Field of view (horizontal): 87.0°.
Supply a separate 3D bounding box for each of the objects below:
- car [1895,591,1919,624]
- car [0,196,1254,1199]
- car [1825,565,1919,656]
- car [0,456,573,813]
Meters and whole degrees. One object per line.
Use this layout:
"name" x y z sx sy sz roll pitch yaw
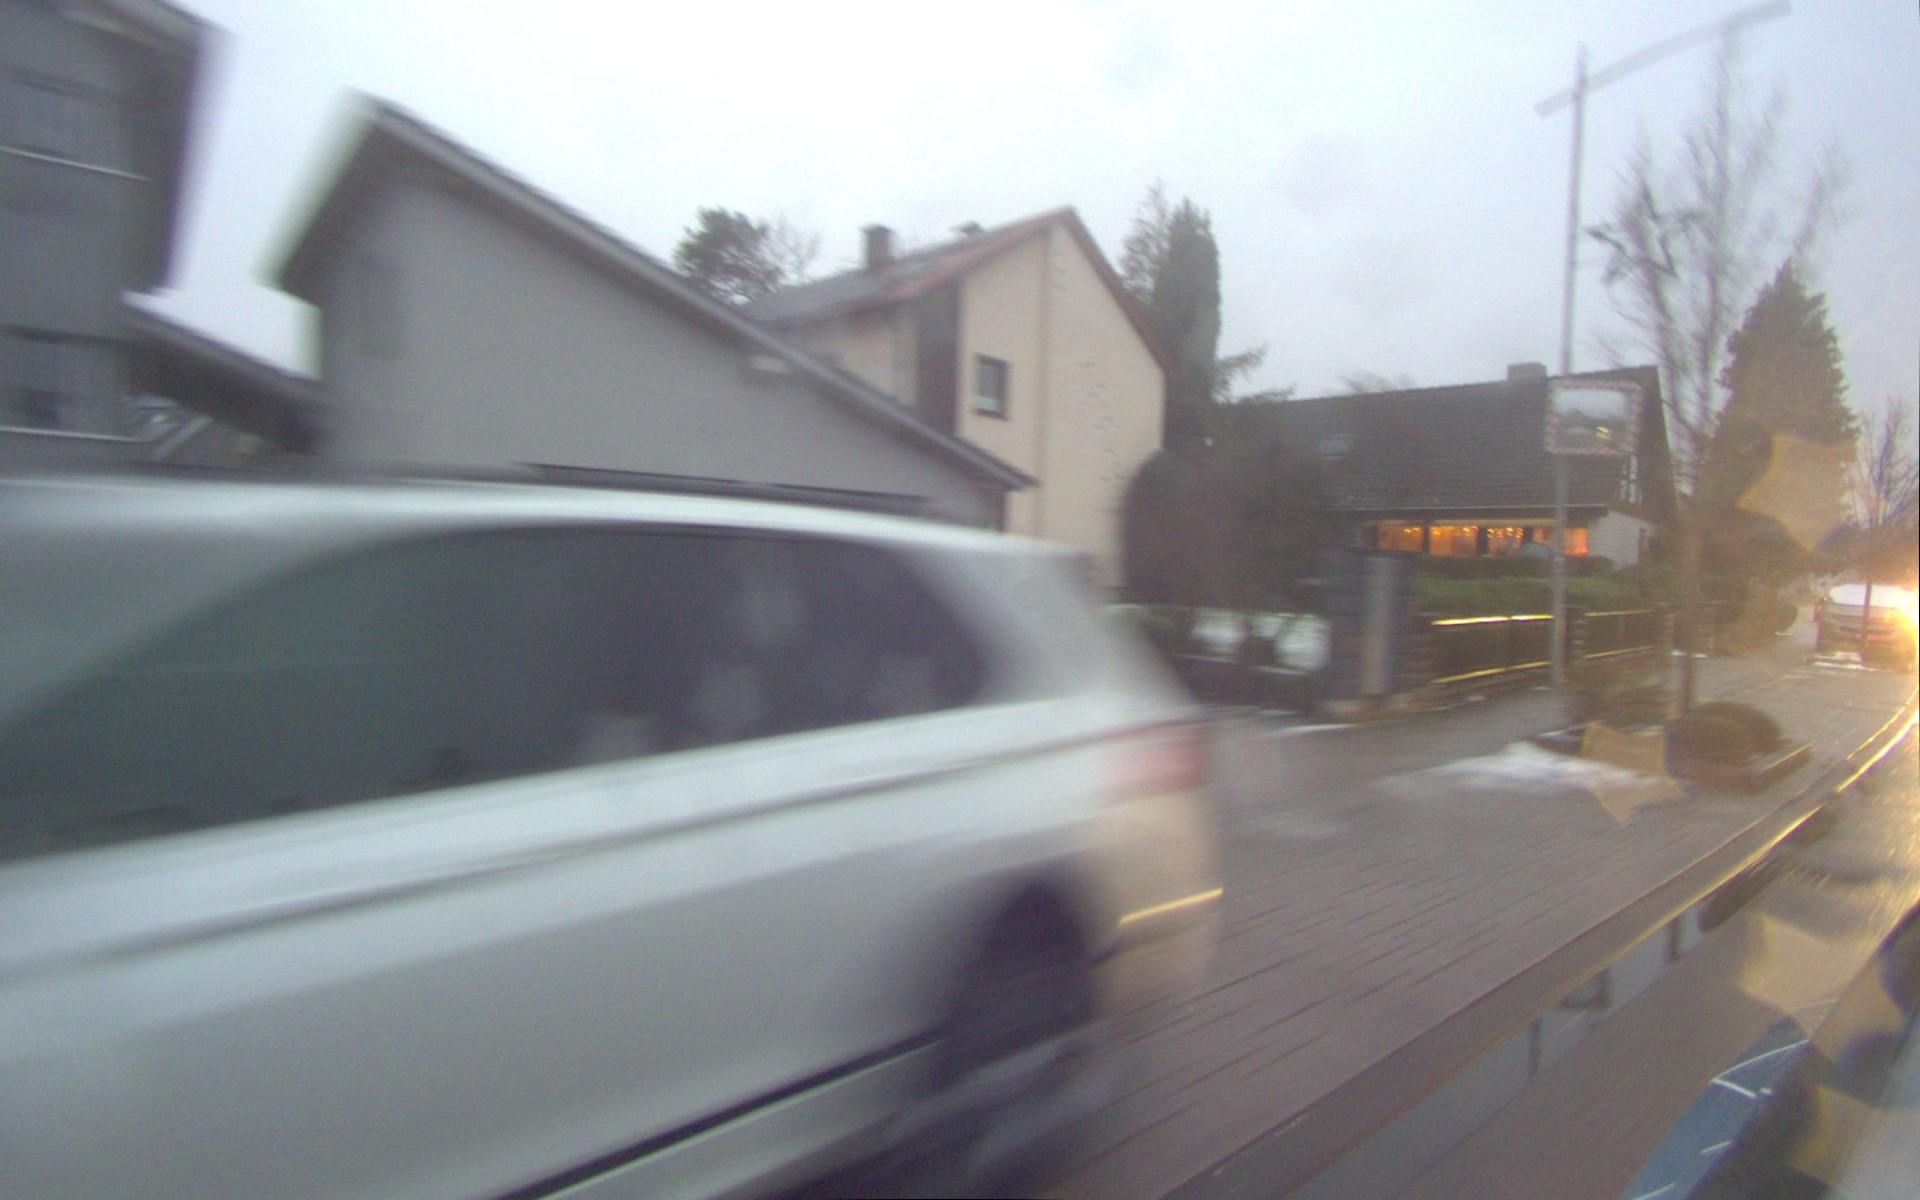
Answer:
"car" 51.045 0.401 53.293 1.987 1.690 3.951 3 2 34
"car" -1.461 0.378 2.022 4.258 1.806 1.750 1 4 -40
"car" 23.948 0.230 26.275 1.978 2.037 5.657 6 4 42
"car" -4.574 0.109 5.541 4.250 1.602 1.977 1 2 -33
